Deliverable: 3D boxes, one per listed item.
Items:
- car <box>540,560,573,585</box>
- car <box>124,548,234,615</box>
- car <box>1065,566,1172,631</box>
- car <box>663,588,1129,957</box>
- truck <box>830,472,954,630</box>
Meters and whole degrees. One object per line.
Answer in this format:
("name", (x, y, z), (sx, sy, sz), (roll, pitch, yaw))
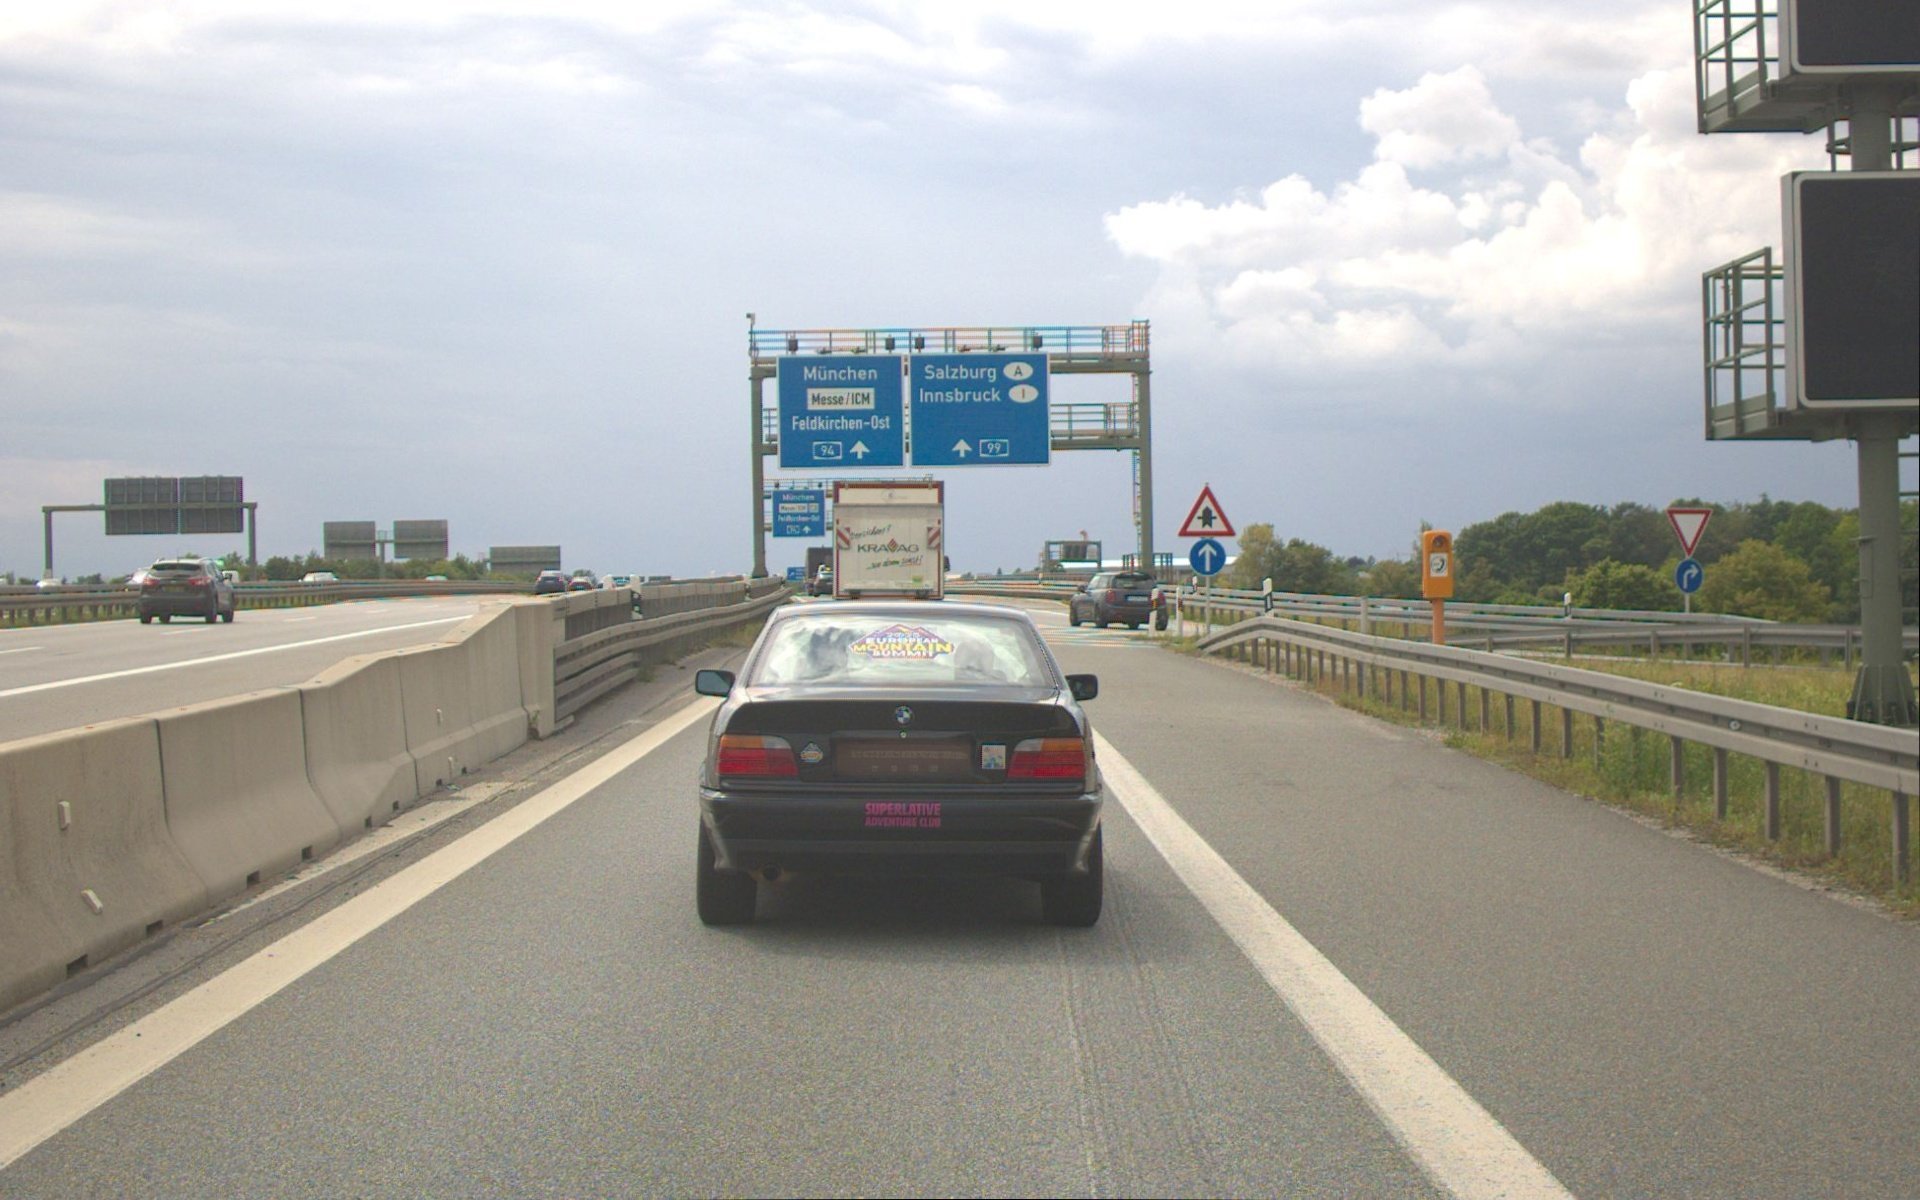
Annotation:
("car", (-26.819, -1.841, 228.553), (1.993, 1.656, 4.385), (0, 1, -4))
("car", (-19.032, -0.472, 83.928), (1.892, 1.592, 4.418), (0, 1, -3))
("car", (3.878, -0.055, 84.971), (1.993, 1.547, 4.001), (1, 0, -7))
("car", (-0.246, 0.658, 15.310), (1.782, 1.373, 4.137), (0, 1, 0))
("truck", (-1.432, -1.003, 70.462), (2.404, 3.079, 6.371), (0, 1, -2))
